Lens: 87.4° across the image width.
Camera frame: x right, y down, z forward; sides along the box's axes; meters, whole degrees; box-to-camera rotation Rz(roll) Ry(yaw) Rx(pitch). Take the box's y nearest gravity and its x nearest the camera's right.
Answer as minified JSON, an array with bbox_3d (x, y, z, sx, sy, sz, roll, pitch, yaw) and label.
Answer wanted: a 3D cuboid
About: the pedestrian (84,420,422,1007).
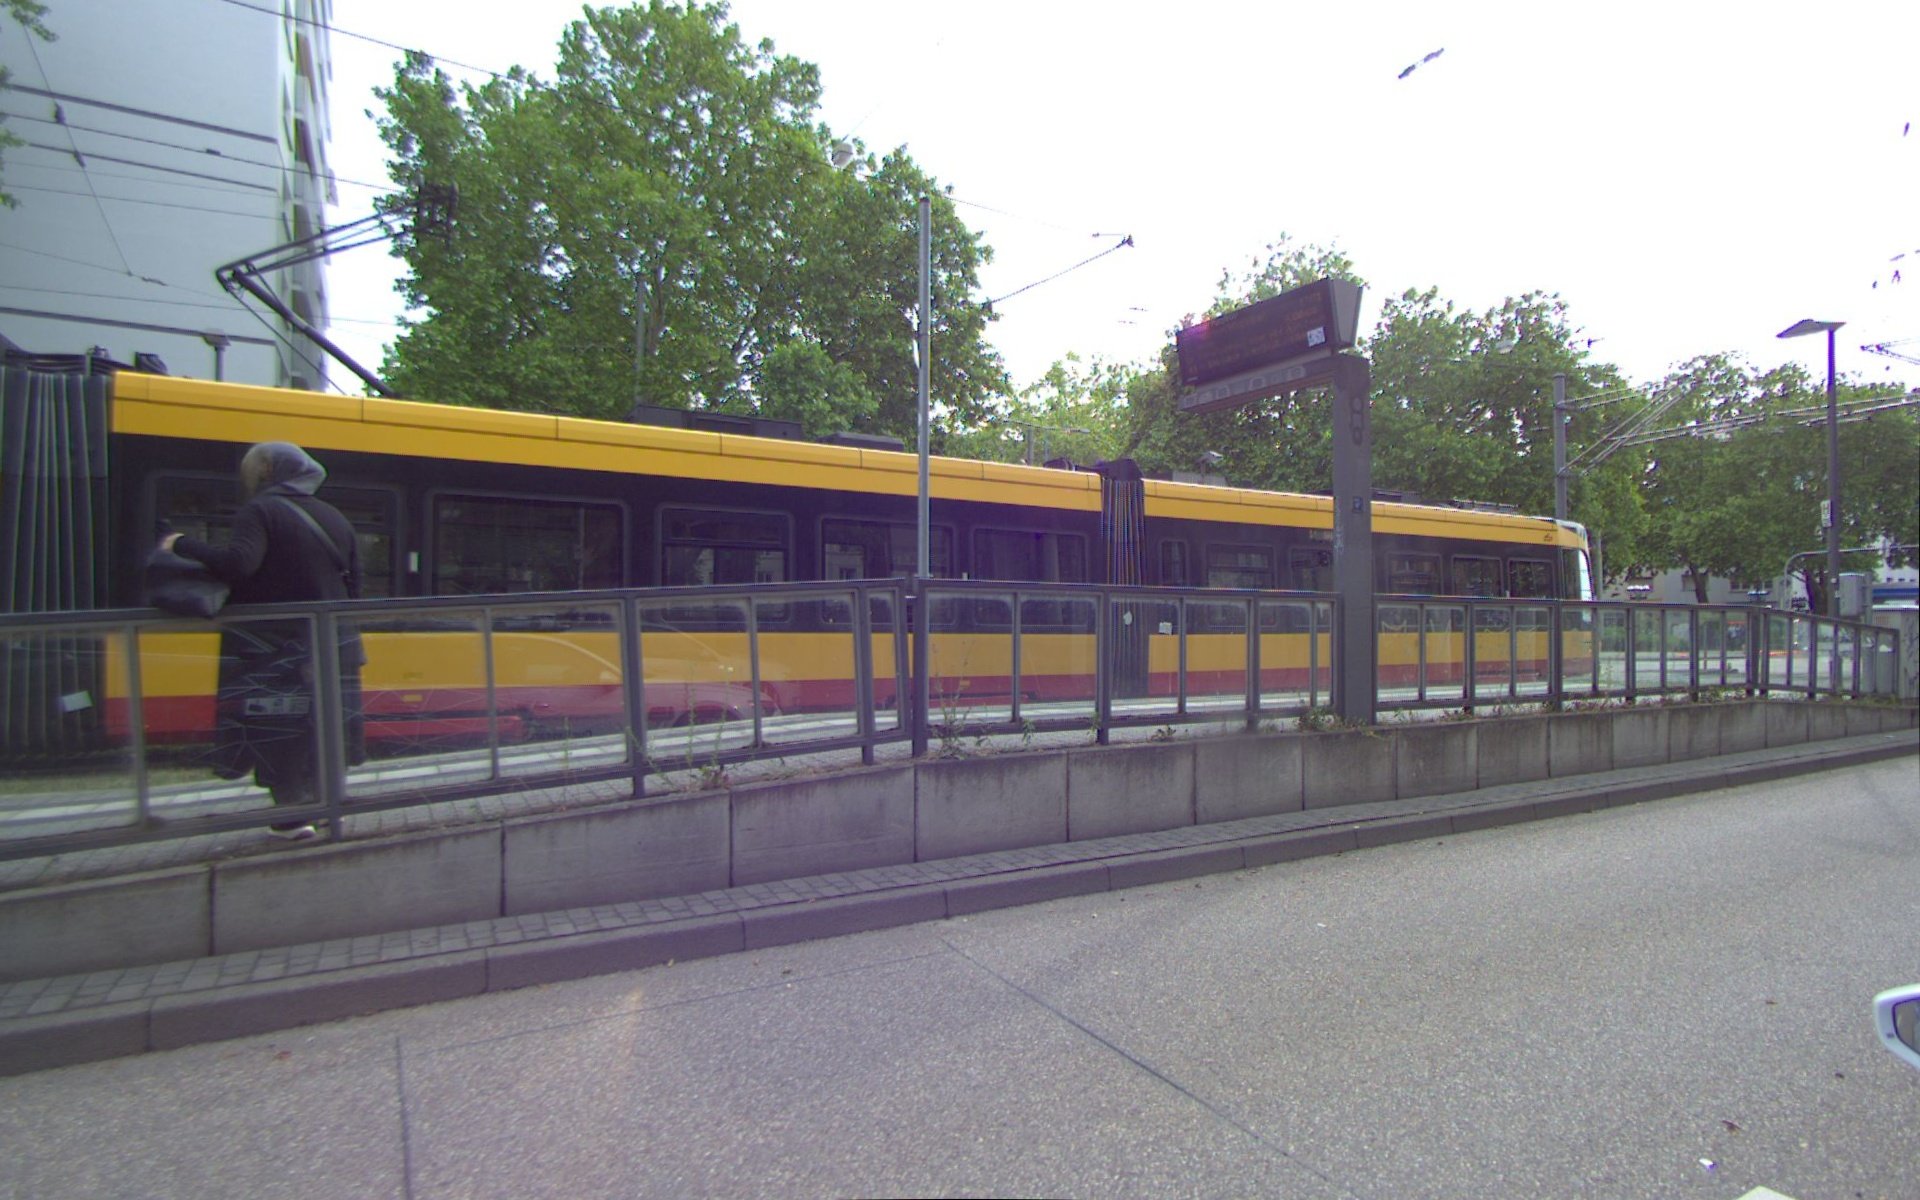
[{"bbox_3d":[-2.785,0.396,4.014,0.741,2.040,0.818,1,0,23],"label":"pedestrian"}]

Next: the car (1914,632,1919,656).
[{"bbox_3d":[55.906,2.500,56.935,3.953,1.343,1.626,1,0,-31],"label":"car"}]

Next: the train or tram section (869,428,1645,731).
[{"bbox_3d":[6.179,-0.116,17.381,15.664,3.636,3.045,1,0,-31],"label":"train or tram section"}]

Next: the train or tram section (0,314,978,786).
[{"bbox_3d":[-7.055,-0.357,9.519,15.116,3.579,3.045,1,0,-31],"label":"train or tram section"}]

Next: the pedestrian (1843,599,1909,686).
[{"bbox_3d":[19.951,0.908,21.900,0.999,1.837,0.582,1,0,38],"label":"pedestrian"}]

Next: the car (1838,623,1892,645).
[{"bbox_3d":[69.171,2.602,76.751,3.953,1.550,1.984,1,0,-31],"label":"car"}]
